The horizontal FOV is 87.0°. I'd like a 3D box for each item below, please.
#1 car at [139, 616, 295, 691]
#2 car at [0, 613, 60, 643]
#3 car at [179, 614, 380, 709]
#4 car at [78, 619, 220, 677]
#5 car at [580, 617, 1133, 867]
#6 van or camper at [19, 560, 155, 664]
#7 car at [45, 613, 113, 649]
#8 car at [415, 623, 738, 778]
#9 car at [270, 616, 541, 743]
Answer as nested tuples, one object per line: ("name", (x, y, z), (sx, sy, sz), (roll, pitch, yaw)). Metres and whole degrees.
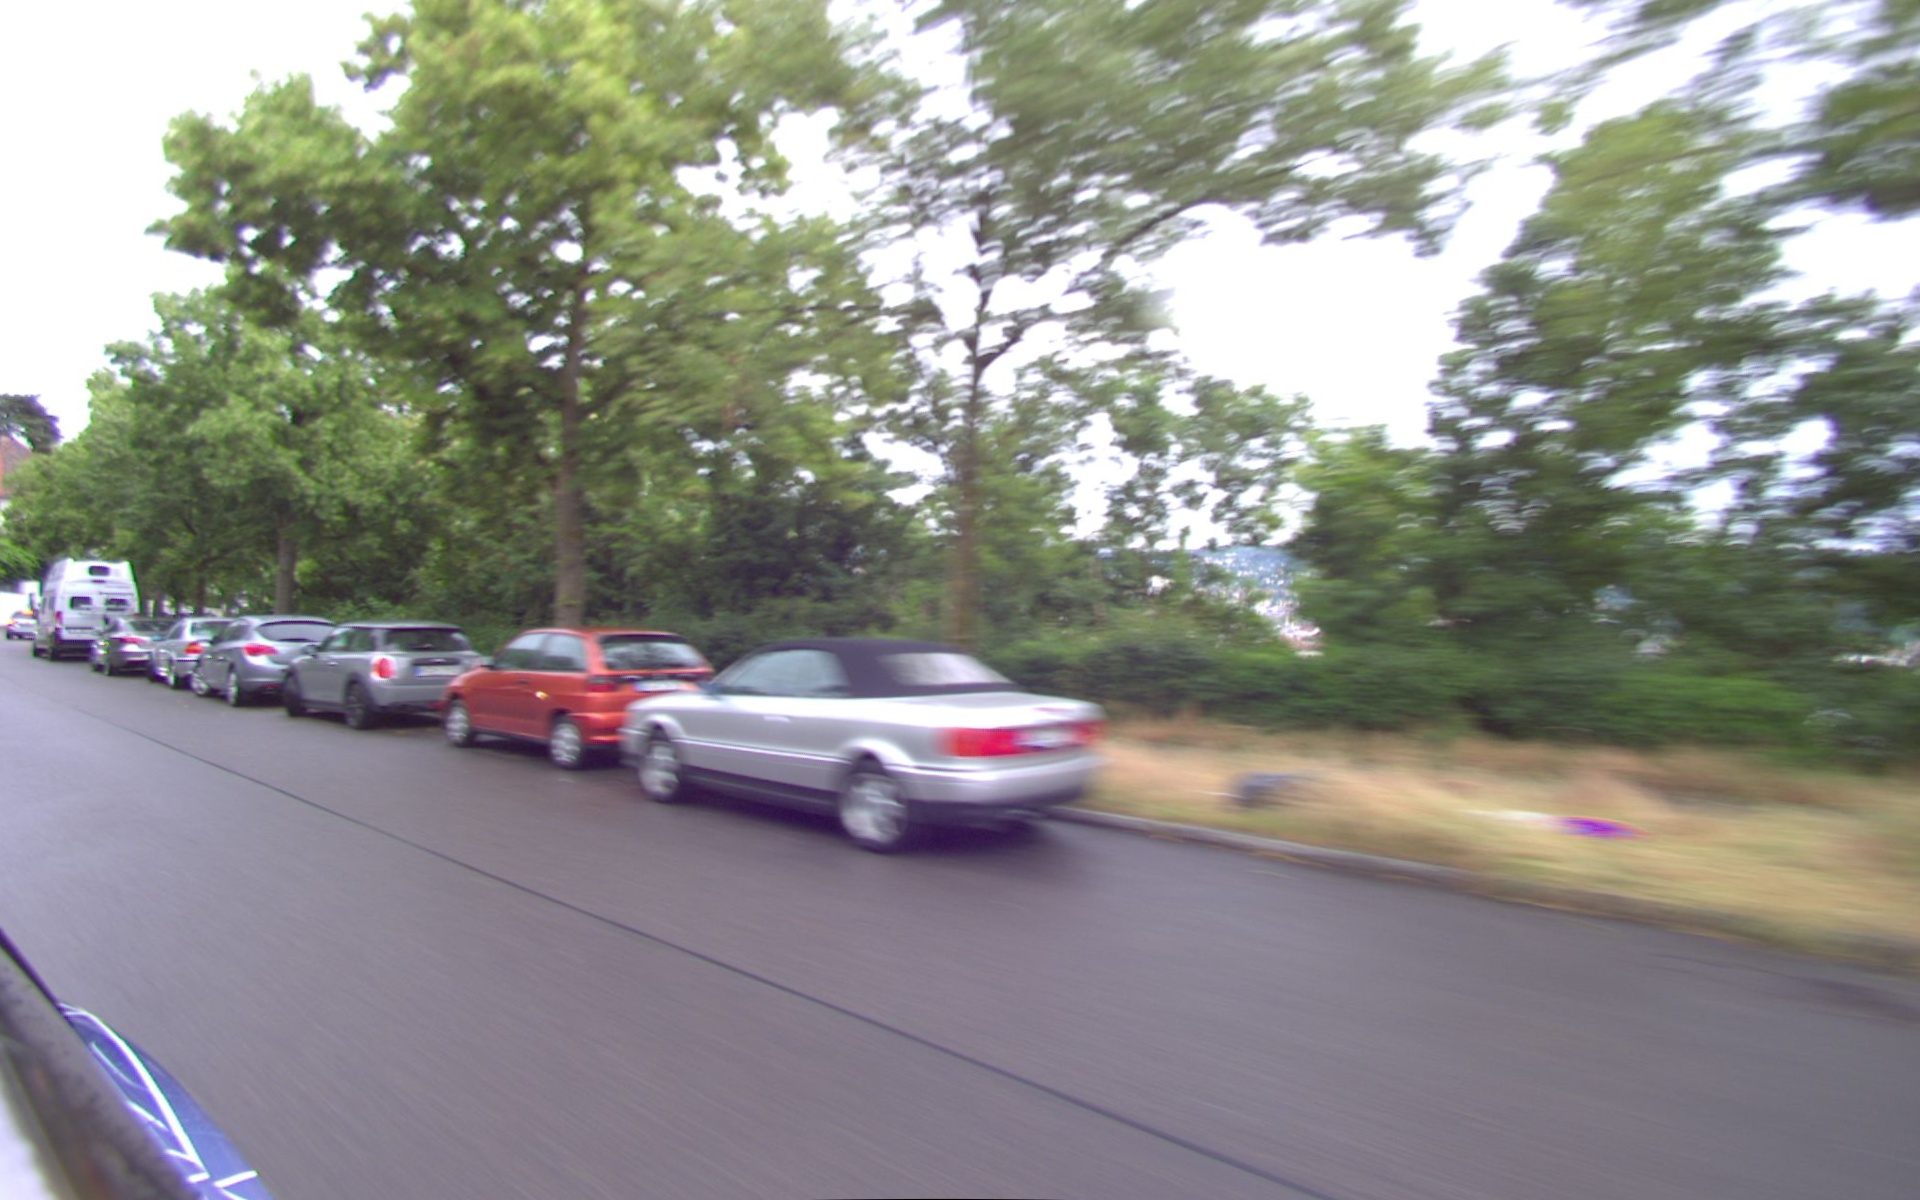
("car", (-15.868, 1.102, 21.510), (1.970, 1.416, 4.717), (3, -4, -44))
("car", (-46.998, 1.390, 51.022), (1.857, 1.413, 4.267), (2, -1, -34))
("car", (-12.175, 1.006, 17.963), (4.715, 1.416, 1.971), (0, -2, 44))
("car", (-20.329, 1.181, 25.276), (5.355, 1.319, 1.971), (-2, -4, 43))
("car", (-1.015, 0.934, 7.879), (4.417, 1.413, 1.736), (-2, -6, 41))
("van or camper", (-28.338, 0.373, 32.756), (6.560, 3.050, 2.479), (0, -2, 42))
("car", (-39.197, 1.368, 45.098), (1.929, 1.472, 4.584), (5, -4, -38))
("car", (-4.389, 0.984, 11.318), (3.997, 1.372, 1.579), (0, -1, 39))
("car", (-7.887, 0.995, 14.178), (4.715, 1.416, 1.971), (0, -2, 44))
